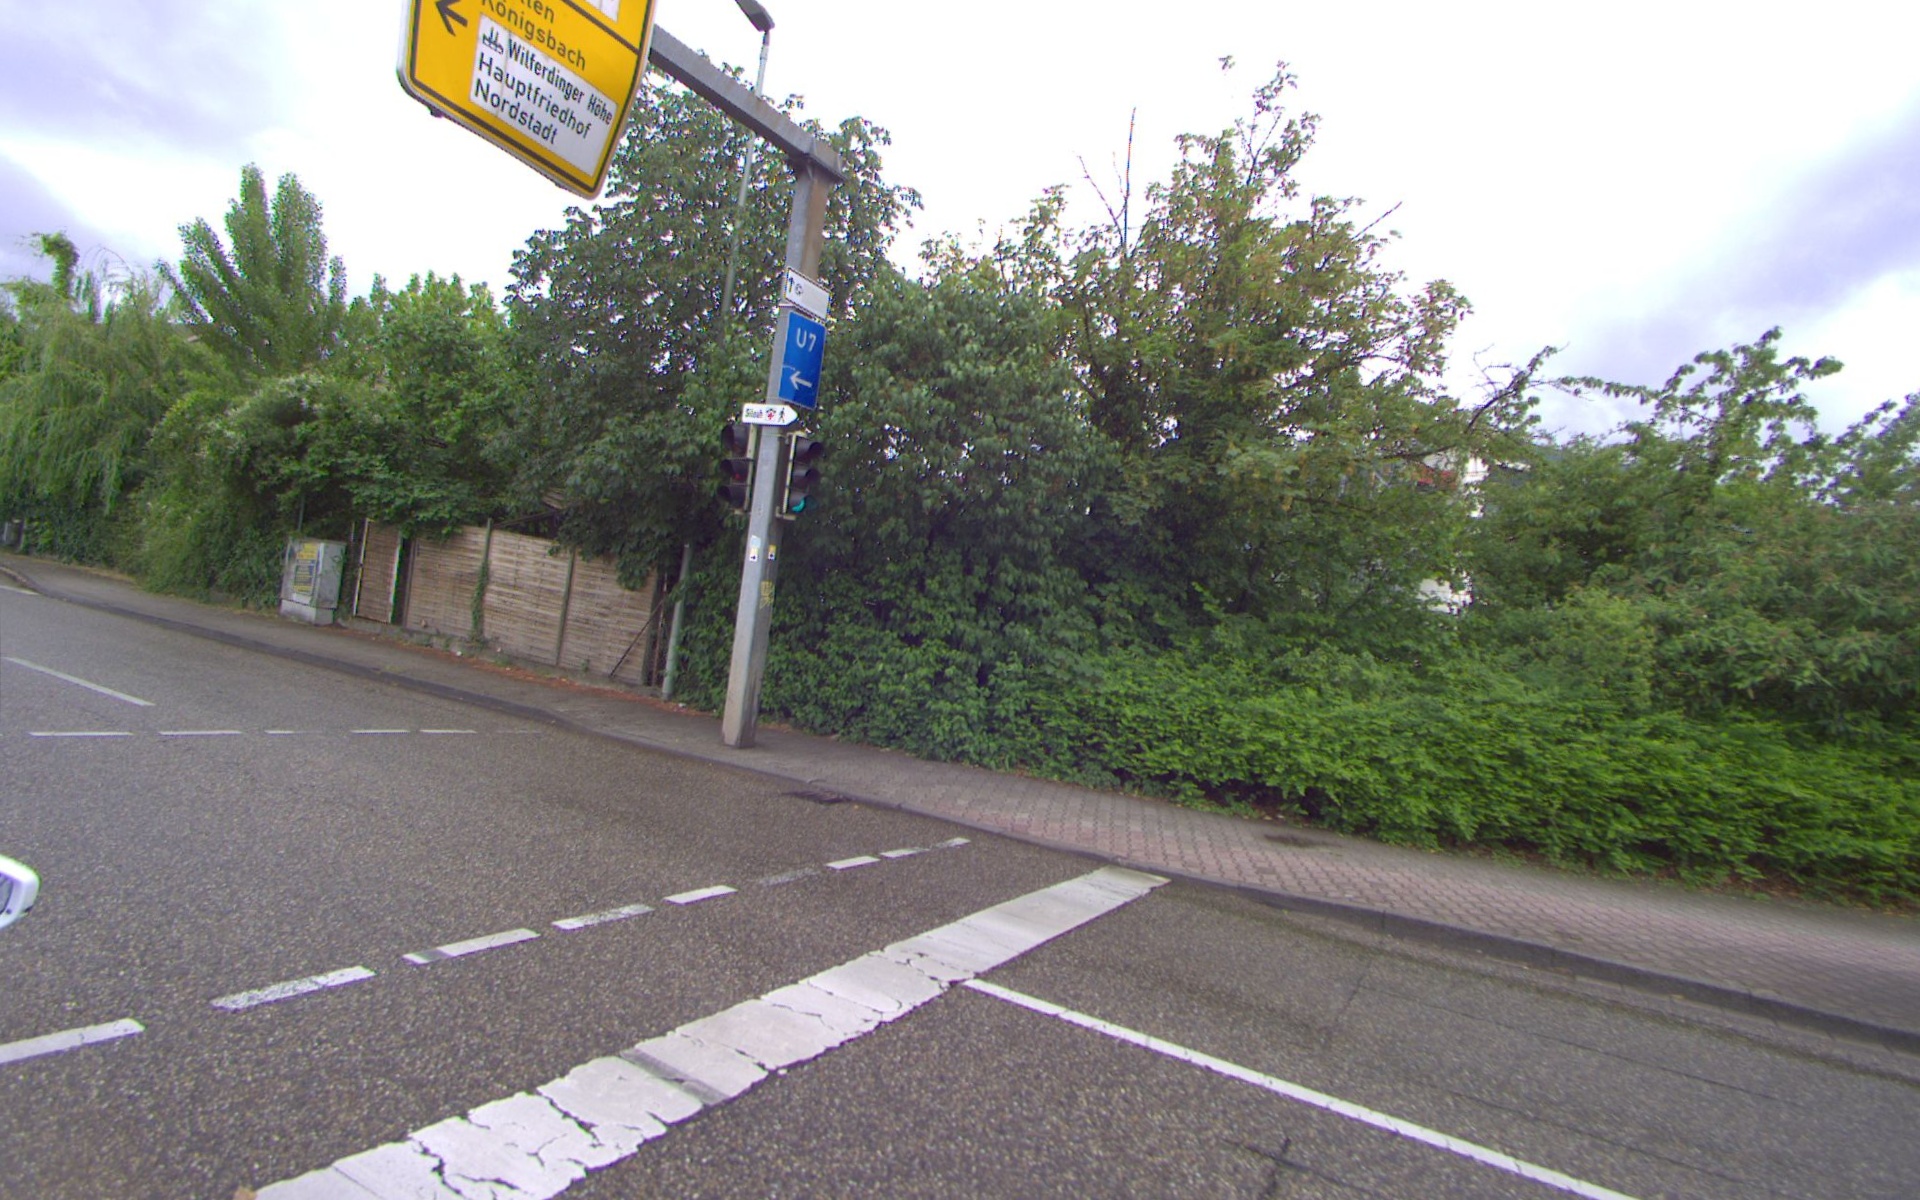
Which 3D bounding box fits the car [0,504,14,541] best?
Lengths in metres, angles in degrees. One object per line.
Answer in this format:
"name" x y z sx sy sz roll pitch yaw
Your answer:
"car" -39.029 -3.216 38.469 1.698 1.412 3.724 5 -1 24
